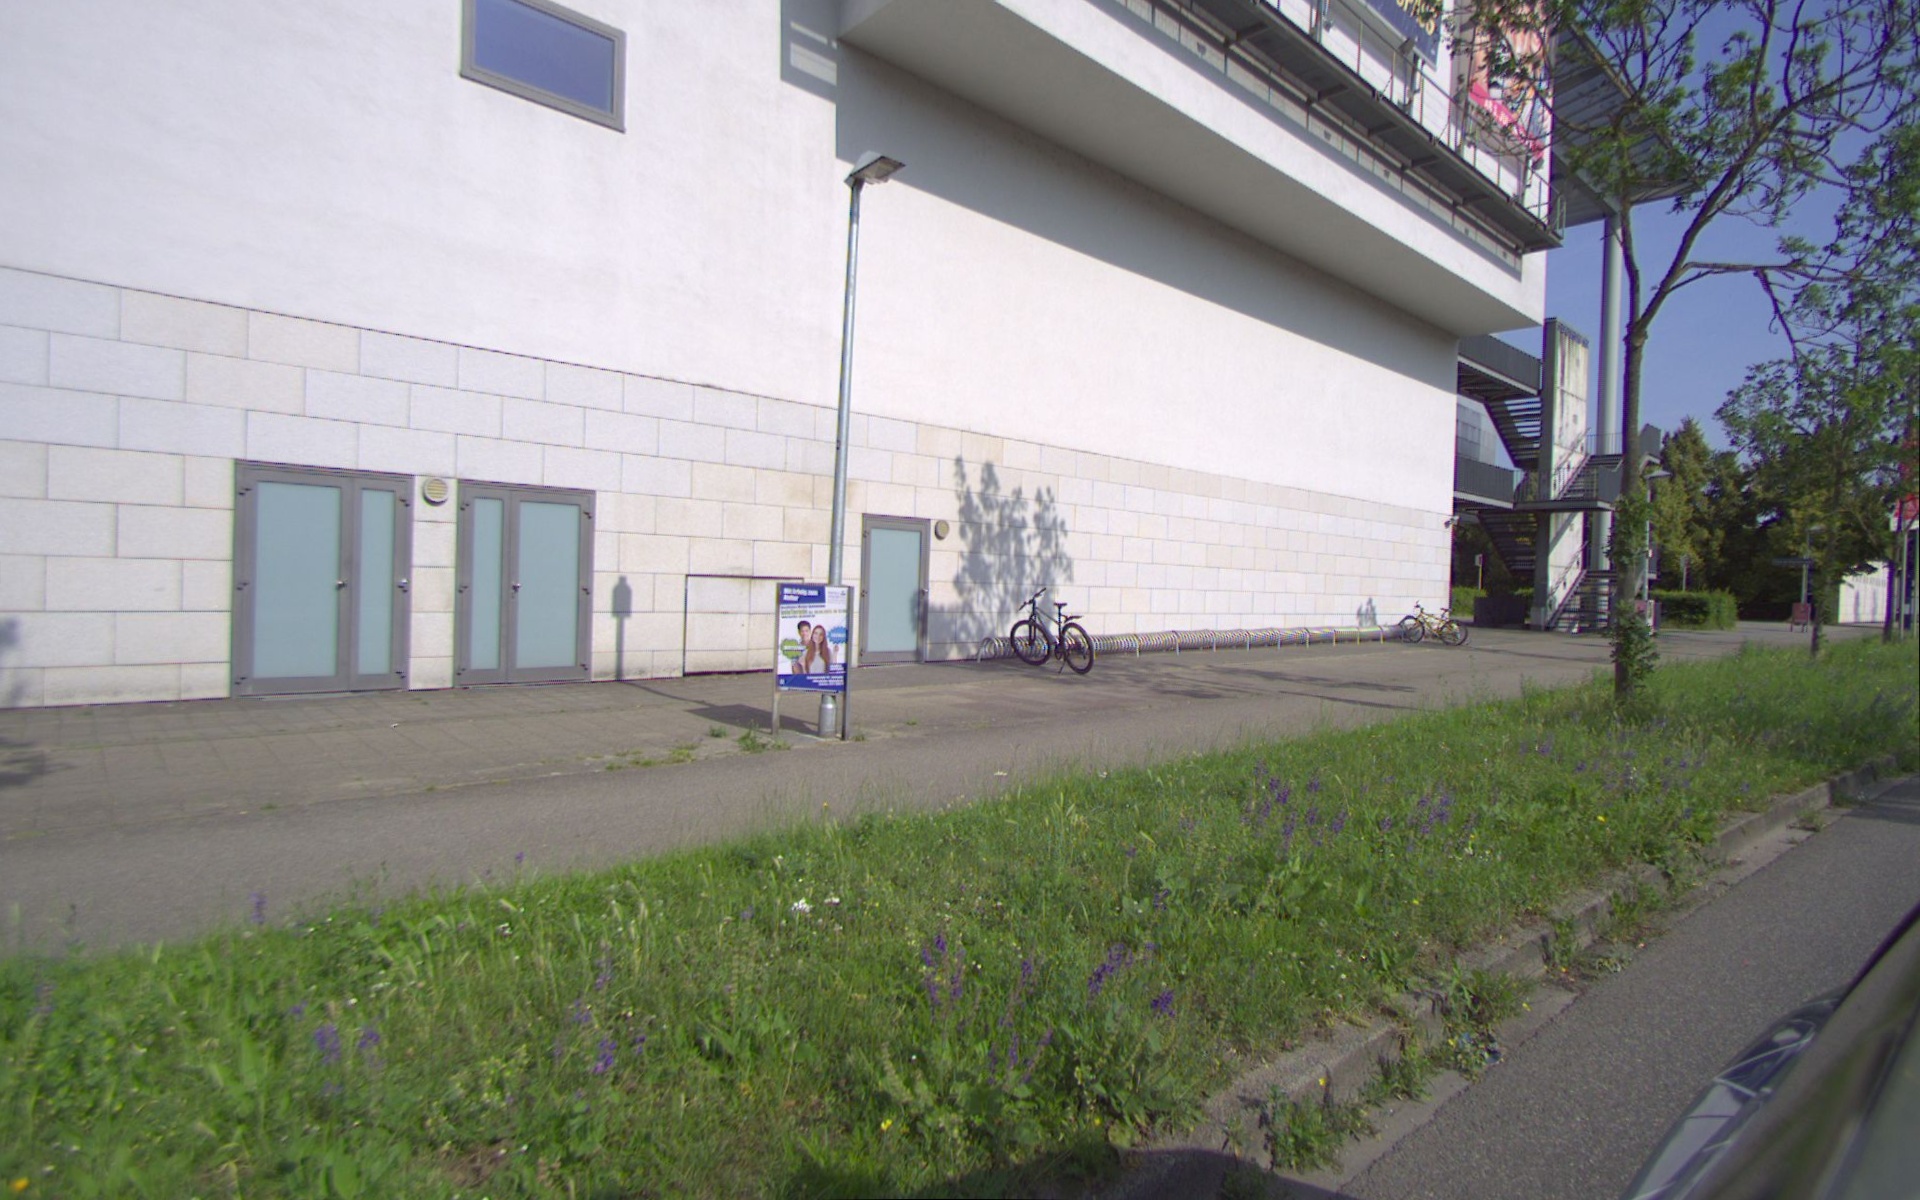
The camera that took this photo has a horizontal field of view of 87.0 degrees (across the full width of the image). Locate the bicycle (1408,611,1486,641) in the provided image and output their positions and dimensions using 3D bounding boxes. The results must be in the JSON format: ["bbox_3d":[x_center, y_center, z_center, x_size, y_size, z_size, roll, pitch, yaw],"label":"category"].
[{"bbox_3d":[12.093,0.628,25.183,0.529,0.653,1.660,1,1,-41],"label":"bicycle"}]

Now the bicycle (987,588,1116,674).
[{"bbox_3d":[1.285,0.409,14.644,0.663,1.116,2.014,1,1,-37],"label":"bicycle"}]

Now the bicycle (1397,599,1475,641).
[{"bbox_3d":[11.608,0.477,24.700,0.474,0.926,1.660,1,1,-41],"label":"bicycle"}]
